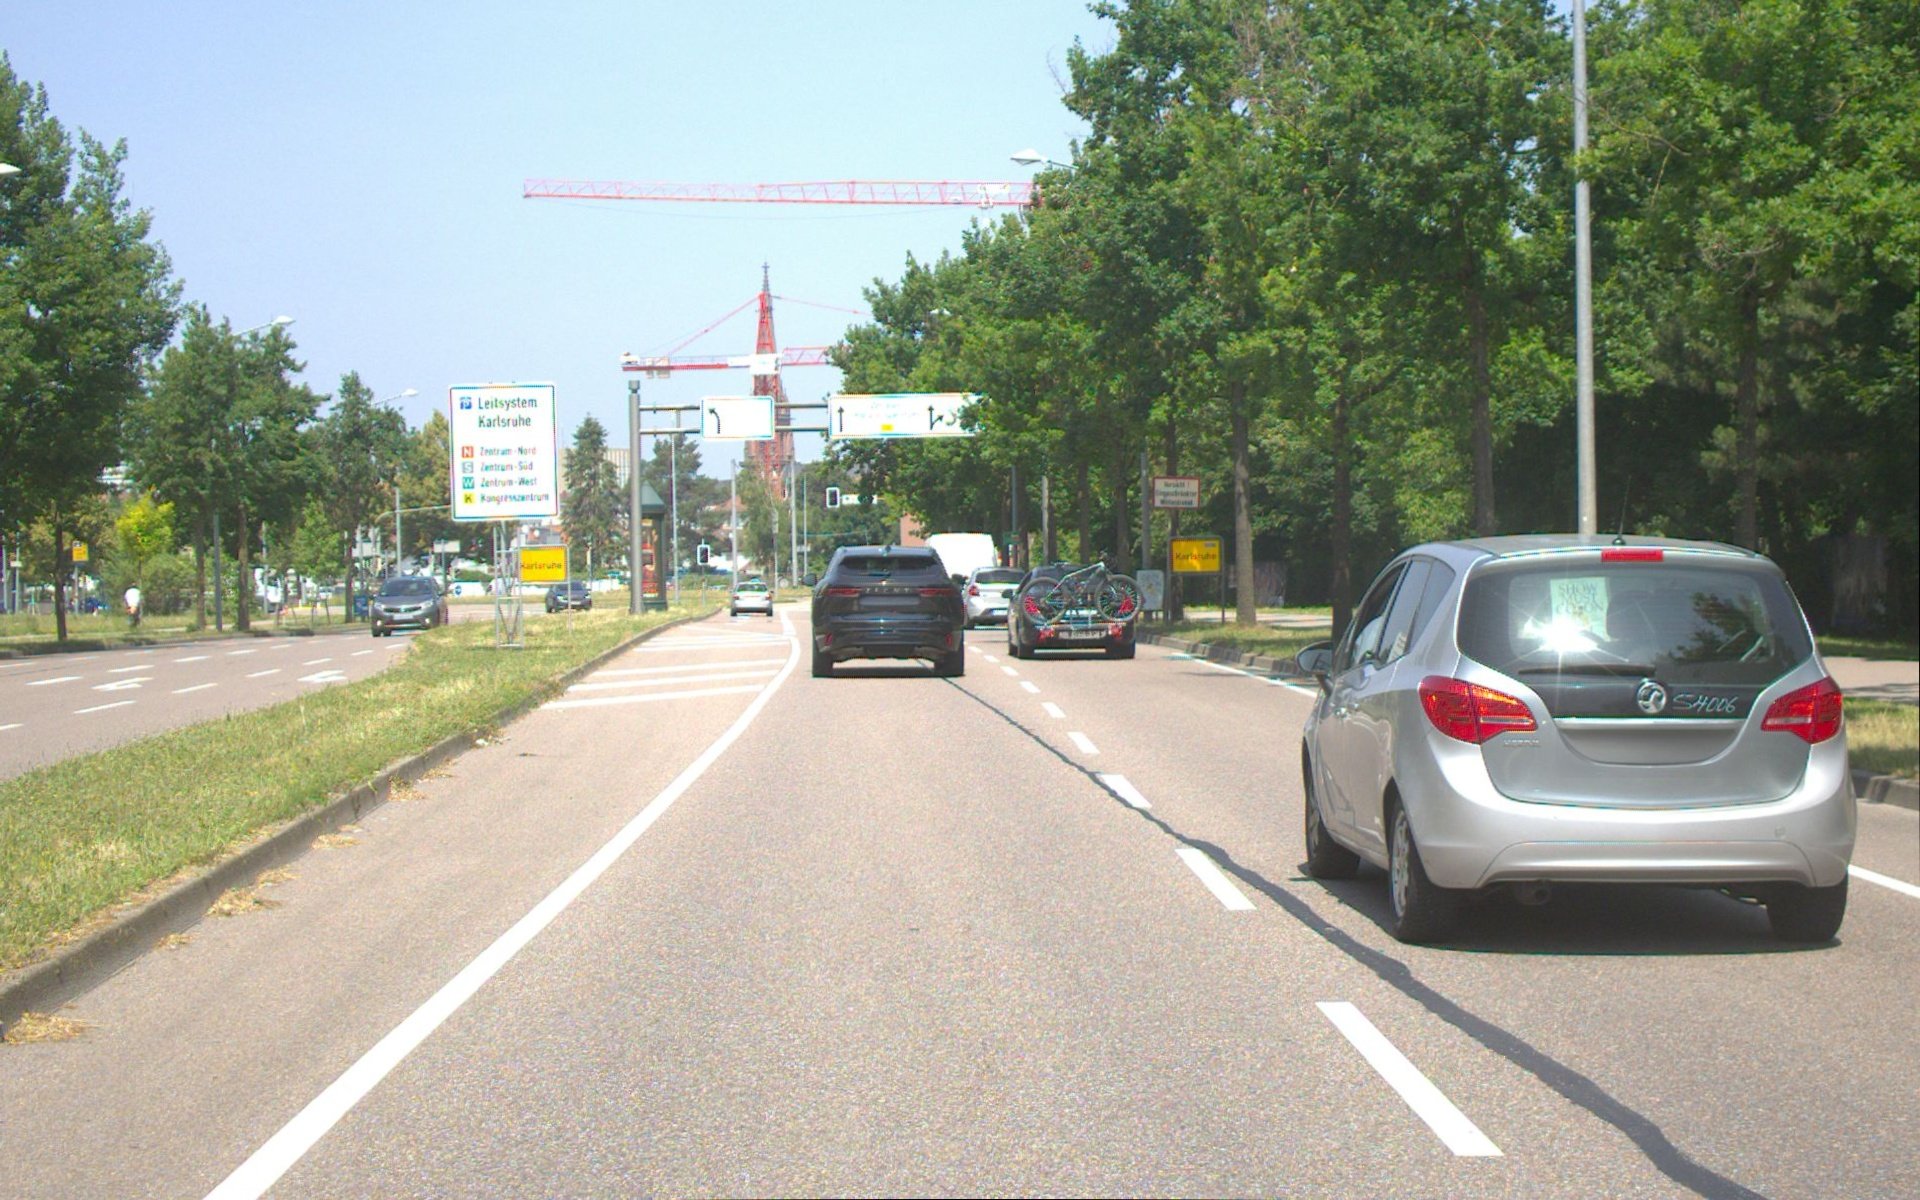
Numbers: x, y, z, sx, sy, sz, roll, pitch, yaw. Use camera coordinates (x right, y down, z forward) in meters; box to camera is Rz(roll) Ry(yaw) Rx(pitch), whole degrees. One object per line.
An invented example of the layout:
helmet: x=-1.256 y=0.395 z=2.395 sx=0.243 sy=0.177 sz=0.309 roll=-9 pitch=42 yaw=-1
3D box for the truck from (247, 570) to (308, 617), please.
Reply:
truck: x=-38.129 y=-0.362 z=192.260 sx=2.638 sy=2.568 sz=6.319 roll=0 pitch=0 yaw=-5

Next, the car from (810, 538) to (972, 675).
car: x=-0.903 y=0.050 z=44.277 sx=1.998 sy=1.684 sz=4.034 roll=0 pitch=1 yaw=-2

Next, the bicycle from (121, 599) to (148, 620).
bicycle: x=-28.739 y=0.325 z=119.647 sx=0.481 sy=0.713 sz=1.850 roll=-1 pitch=0 yaw=0

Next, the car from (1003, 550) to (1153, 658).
car: x=1.734 y=0.043 z=52.021 sx=2.014 sy=1.512 sz=4.461 roll=-1 pitch=0 yaw=-1

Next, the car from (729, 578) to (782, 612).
car: x=-8.650 y=-0.218 z=145.231 sx=1.993 sy=1.316 sz=4.001 roll=-1 pitch=1 yaw=-7

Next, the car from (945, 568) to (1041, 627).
car: x=0.768 y=-0.075 z=82.585 sx=1.654 sy=1.351 sz=4.461 roll=-1 pitch=0 yaw=-8

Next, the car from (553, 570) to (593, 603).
car: x=-19.724 y=-0.695 z=175.323 sx=1.892 sy=1.605 sz=4.535 roll=-1 pitch=1 yaw=-5

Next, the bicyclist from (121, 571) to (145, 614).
bicyclist: x=-28.780 y=-0.250 z=119.677 sx=0.623 sy=1.484 sz=0.757 roll=-1 pitch=0 yaw=0

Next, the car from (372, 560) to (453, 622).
car: x=-13.966 y=-0.256 z=87.881 sx=1.707 sy=1.467 sz=3.942 roll=-2 pitch=1 yaw=-5

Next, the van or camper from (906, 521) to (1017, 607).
van or camper: x=-0.004 y=-0.992 z=95.863 sx=2.493 sy=2.283 sz=4.922 roll=-1 pitch=0 yaw=-7

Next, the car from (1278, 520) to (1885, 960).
car: x=2.451 y=0.488 z=14.503 sx=1.792 sy=1.606 sz=3.891 roll=0 pitch=1 yaw=-1
